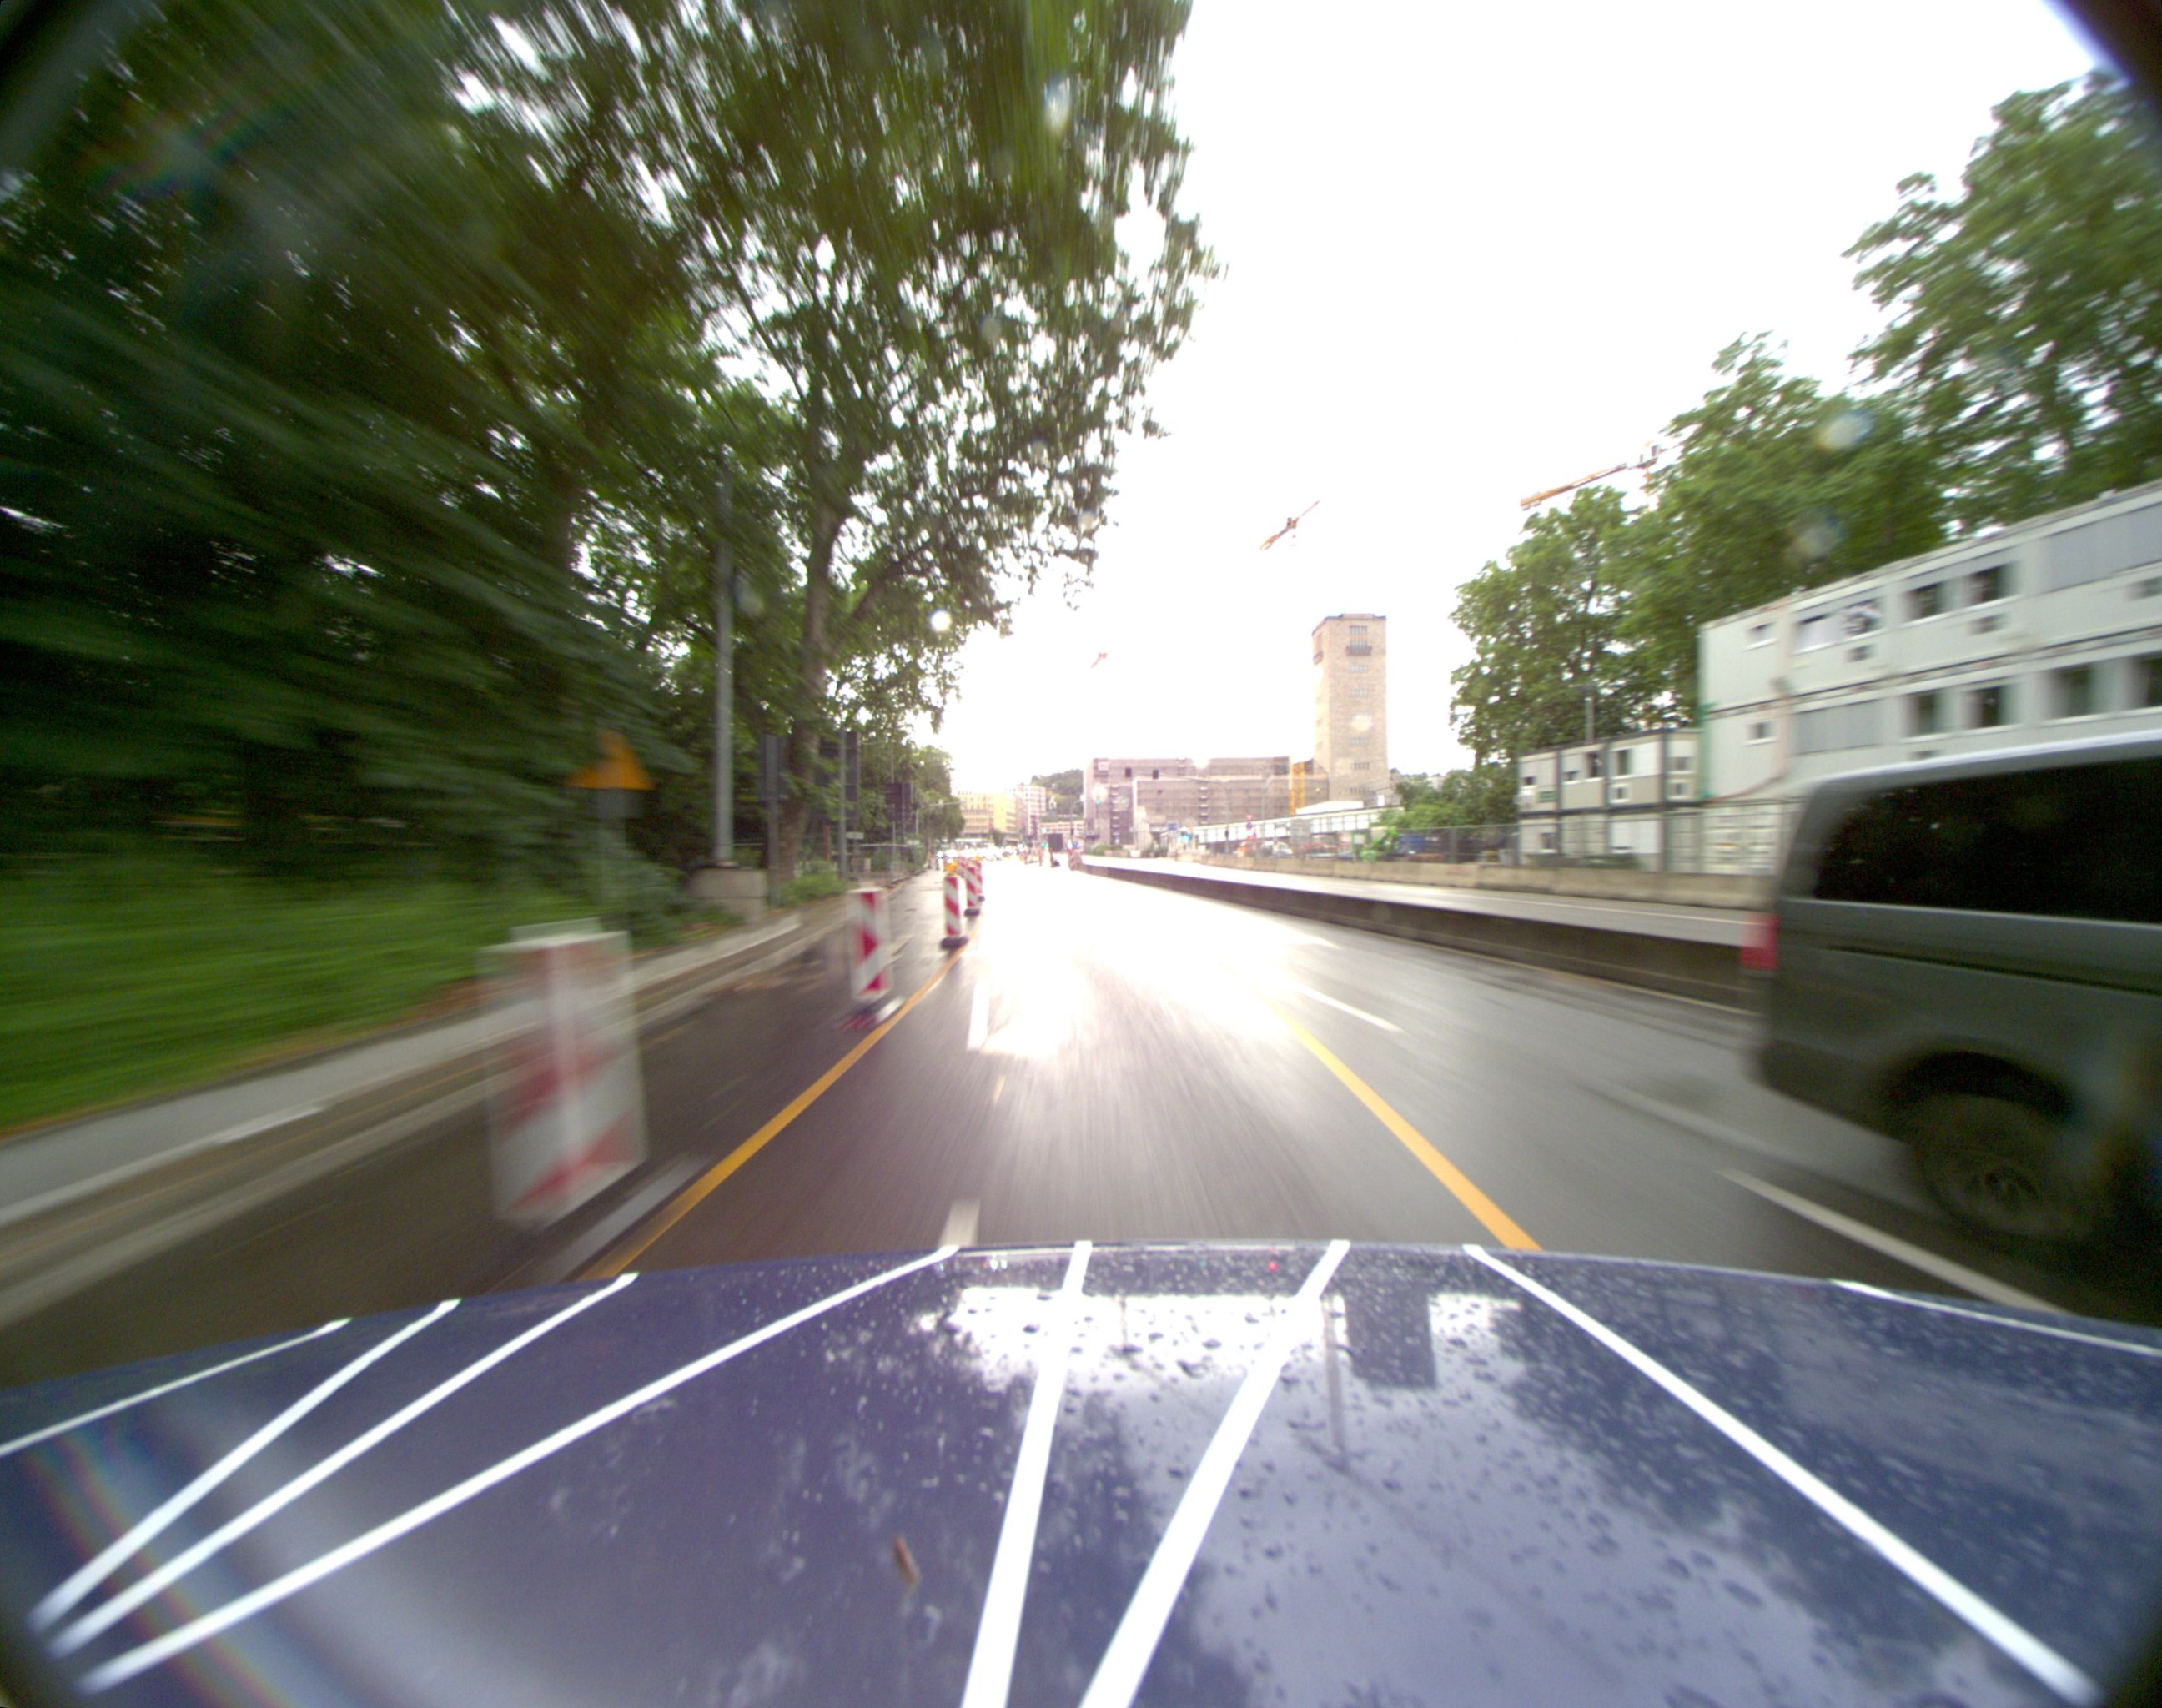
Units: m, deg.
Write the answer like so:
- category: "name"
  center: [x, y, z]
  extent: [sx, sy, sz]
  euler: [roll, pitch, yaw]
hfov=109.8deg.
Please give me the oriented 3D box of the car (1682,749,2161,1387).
- category: "car"
  center: [4.223, 0.596, 1.145]
  extent: [2.000, 1.845, 5.354]
  euler: [-2, 0, -6]

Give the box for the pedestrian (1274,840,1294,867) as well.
- category: "pedestrian"
  center: [15.717, -0.035, 58.917]
  extent: [1.183, 2.002, 1.173]
  euler: [-1, 1, 0]

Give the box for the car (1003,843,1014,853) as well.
- category: "car"
  center: [-14.053, -1.133, 147.574]
  extent: [2.000, 1.804, 4.289]
  euler: [0, 1, -7]

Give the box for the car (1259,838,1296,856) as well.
- category: "car"
  center: [19.812, -0.727, 76.943]
  extent: [1.851, 1.751, 4.793]
  euler: [0, 1, -9]

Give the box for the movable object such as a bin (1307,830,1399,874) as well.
- category: "movable object such as a bin"
  center: [20.070, -0.202, 56.545]
  extent: [3.945, 3.110, 6.382]
  euler: [0, 1, -8]

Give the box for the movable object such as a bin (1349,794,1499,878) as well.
- category: "movable object such as a bin"
  center: [21.118, -1.091, 47.564]
  extent: [4.765, 4.776, 8.351]
  euler: [0, 1, -8]

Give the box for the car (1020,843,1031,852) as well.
- category: "car"
  center: [-10.703, -1.316, 147.424]
  extent: [1.833, 1.643, 4.570]
  euler: [0, 1, -8]

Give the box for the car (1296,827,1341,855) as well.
- category: "car"
  center: [27.035, -1.507, 86.787]
  extent: [2.281, 3.048, 6.162]
  euler: [0, 1, -10]

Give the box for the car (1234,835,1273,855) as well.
- category: "car"
  center: [18.731, -0.997, 82.768]
  extent: [2.001, 2.088, 5.575]
  euler: [1, 1, -12]
